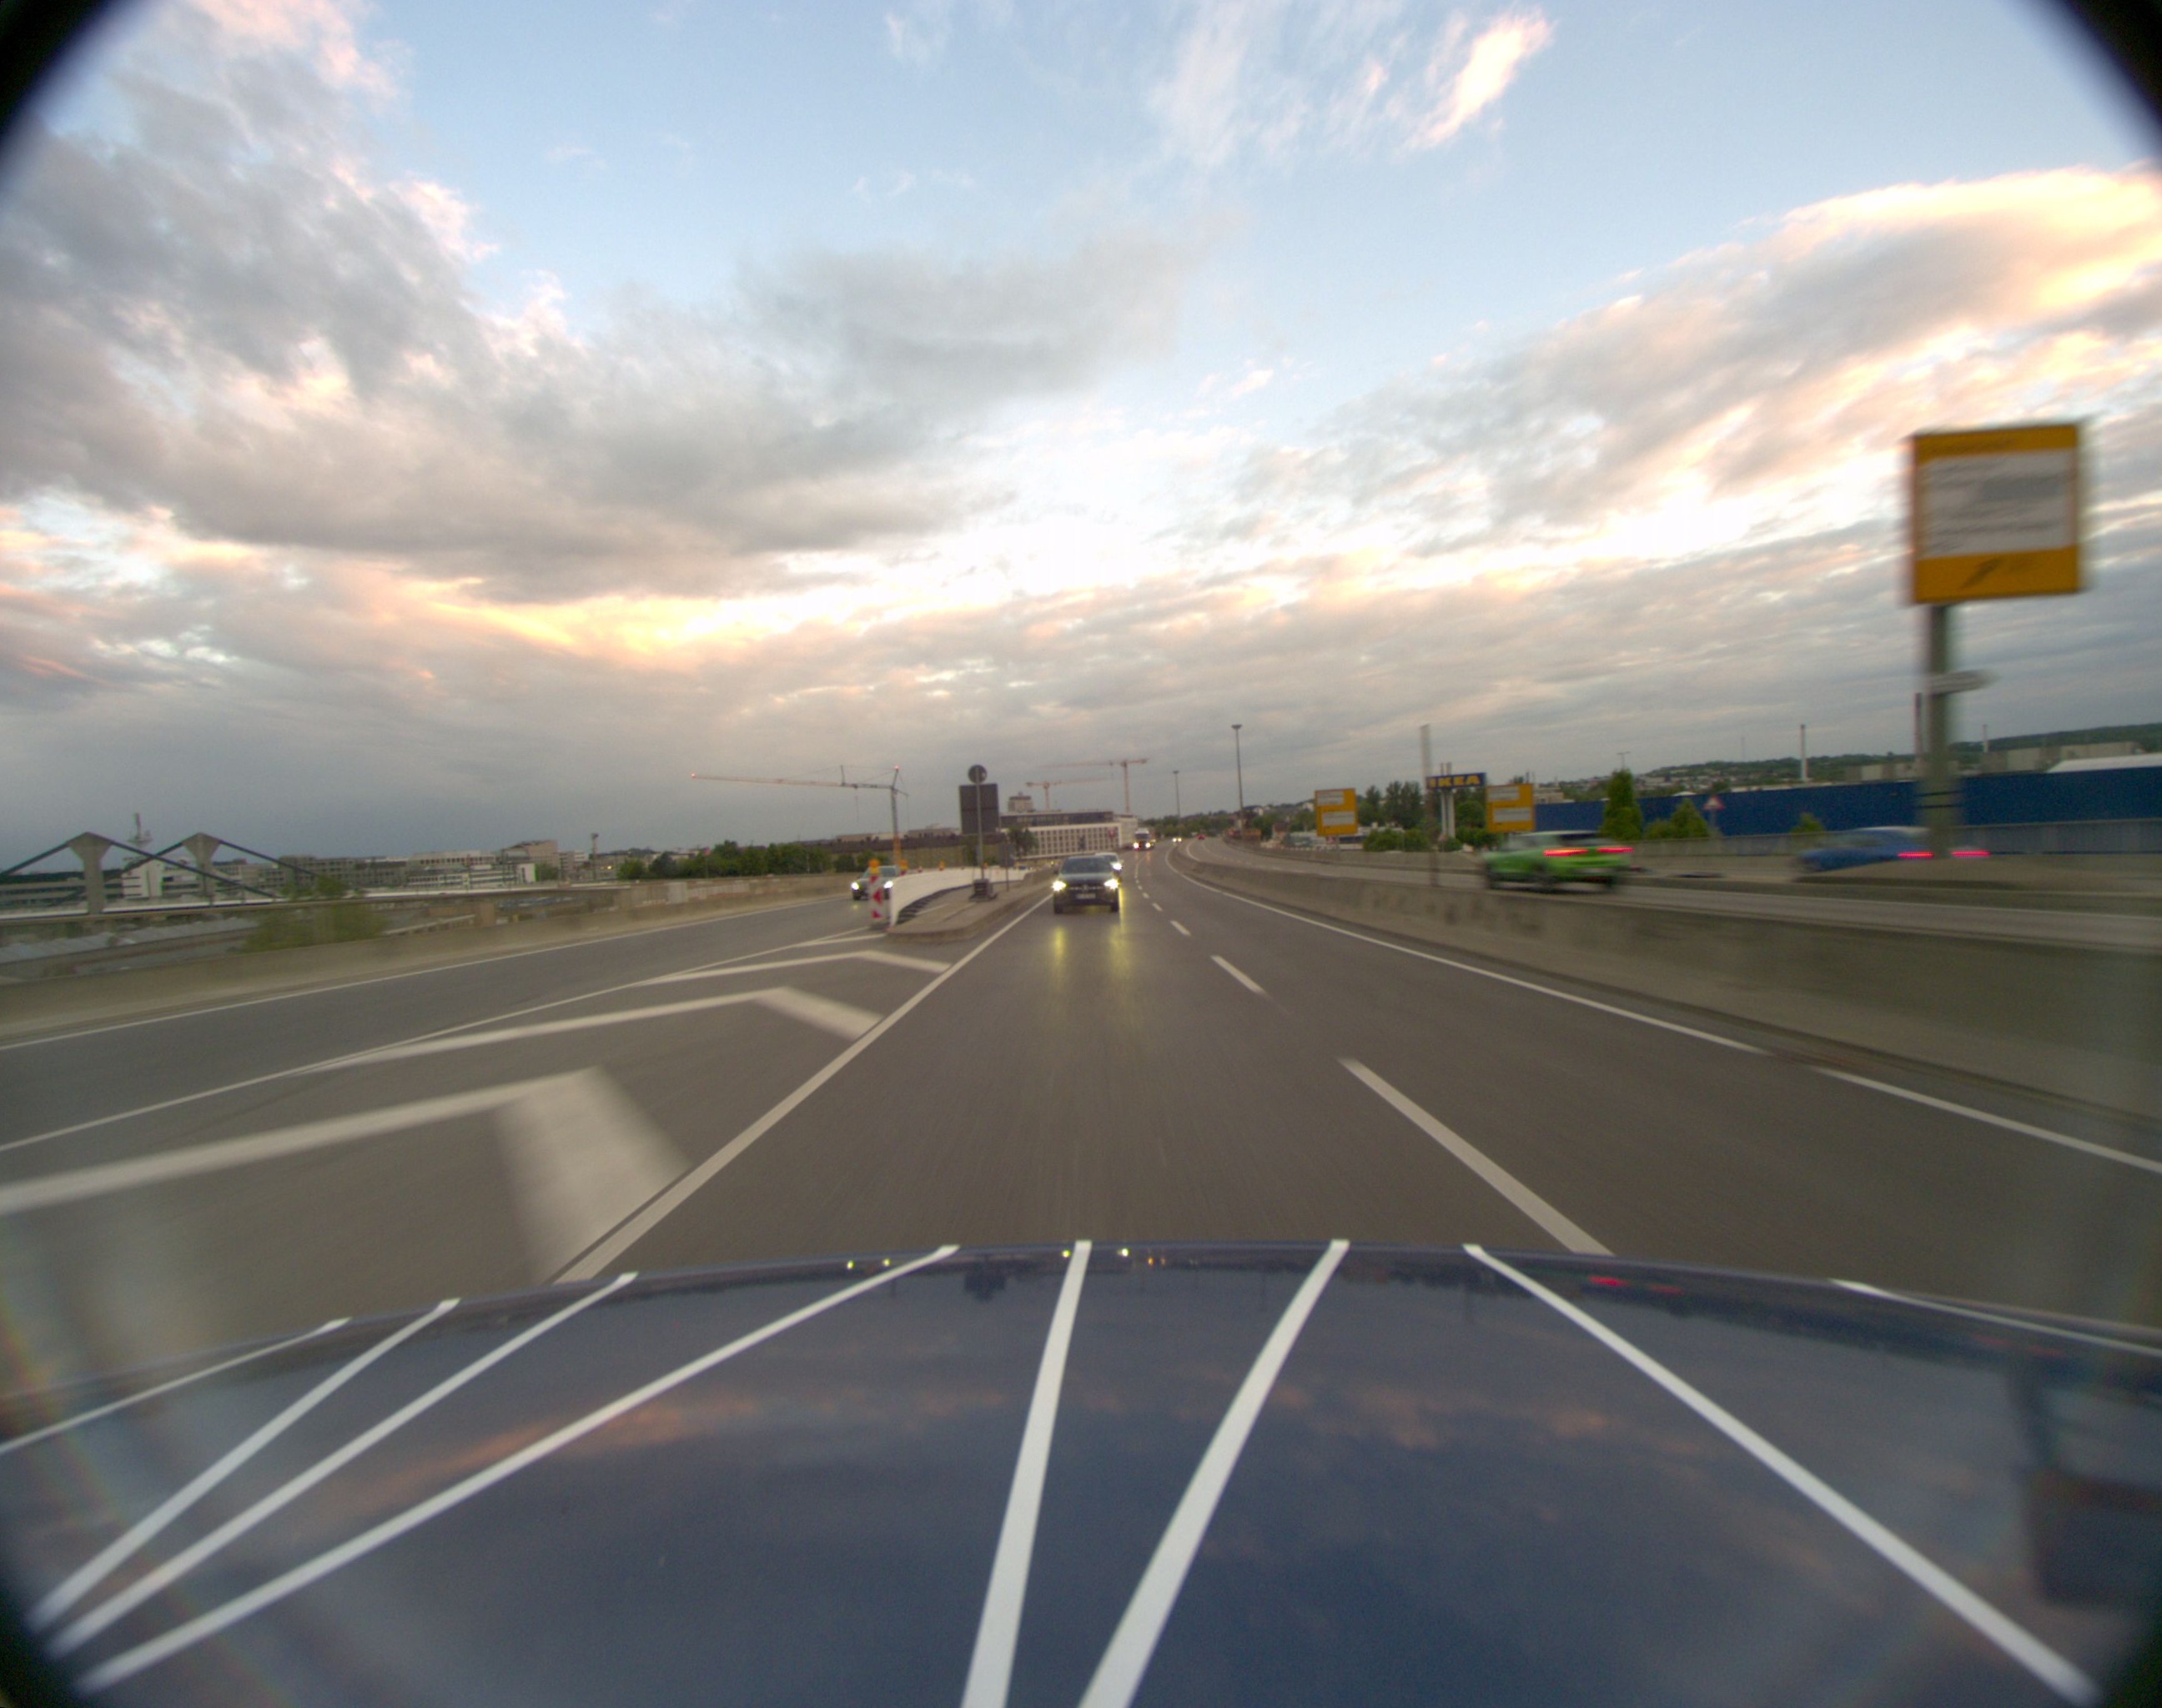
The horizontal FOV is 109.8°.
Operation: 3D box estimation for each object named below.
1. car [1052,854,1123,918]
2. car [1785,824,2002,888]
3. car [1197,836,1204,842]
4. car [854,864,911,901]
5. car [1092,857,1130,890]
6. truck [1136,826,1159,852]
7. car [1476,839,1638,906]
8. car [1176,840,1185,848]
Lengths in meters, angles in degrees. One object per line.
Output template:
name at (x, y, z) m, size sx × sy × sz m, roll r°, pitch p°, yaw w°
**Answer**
car at (0.246, 0.853, 22.248) m, size 1.823 × 1.602 × 4.213 m, roll -2°, pitch 0°, yaw 2°
car at (22.974, 0.051, 21.770) m, size 1.902 × 1.586 × 4.164 m, roll -2°, pitch 0°, yaw 5°
car at (34.072, -4.339, 217.219) m, size 1.832 × 1.472 × 4.288 m, roll -2°, pitch 2°, yaw 9°
car at (-9.062, 1.278, 35.021) m, size 1.755 × 1.482 × 3.998 m, roll -2°, pitch 0°, yaw -4°
car at (1.676, 1.025, 42.179) m, size 1.891 × 1.641 × 4.344 m, roll -3°, pitch 0°, yaw 2°
truck at (11.968, -2.759, 135.998) m, size 3.163 × 4.370 × 8.796 m, roll -2°, pitch 2°, yaw 9°
car at (11.958, 0.406, 19.438) m, size 1.714 × 1.486 × 4.081 m, roll -2°, pitch 0°, yaw 2°
car at (26.711, -2.680, 203.966) m, size 1.997 × 2.003 × 4.001 m, roll -2°, pitch 3°, yaw 10°
